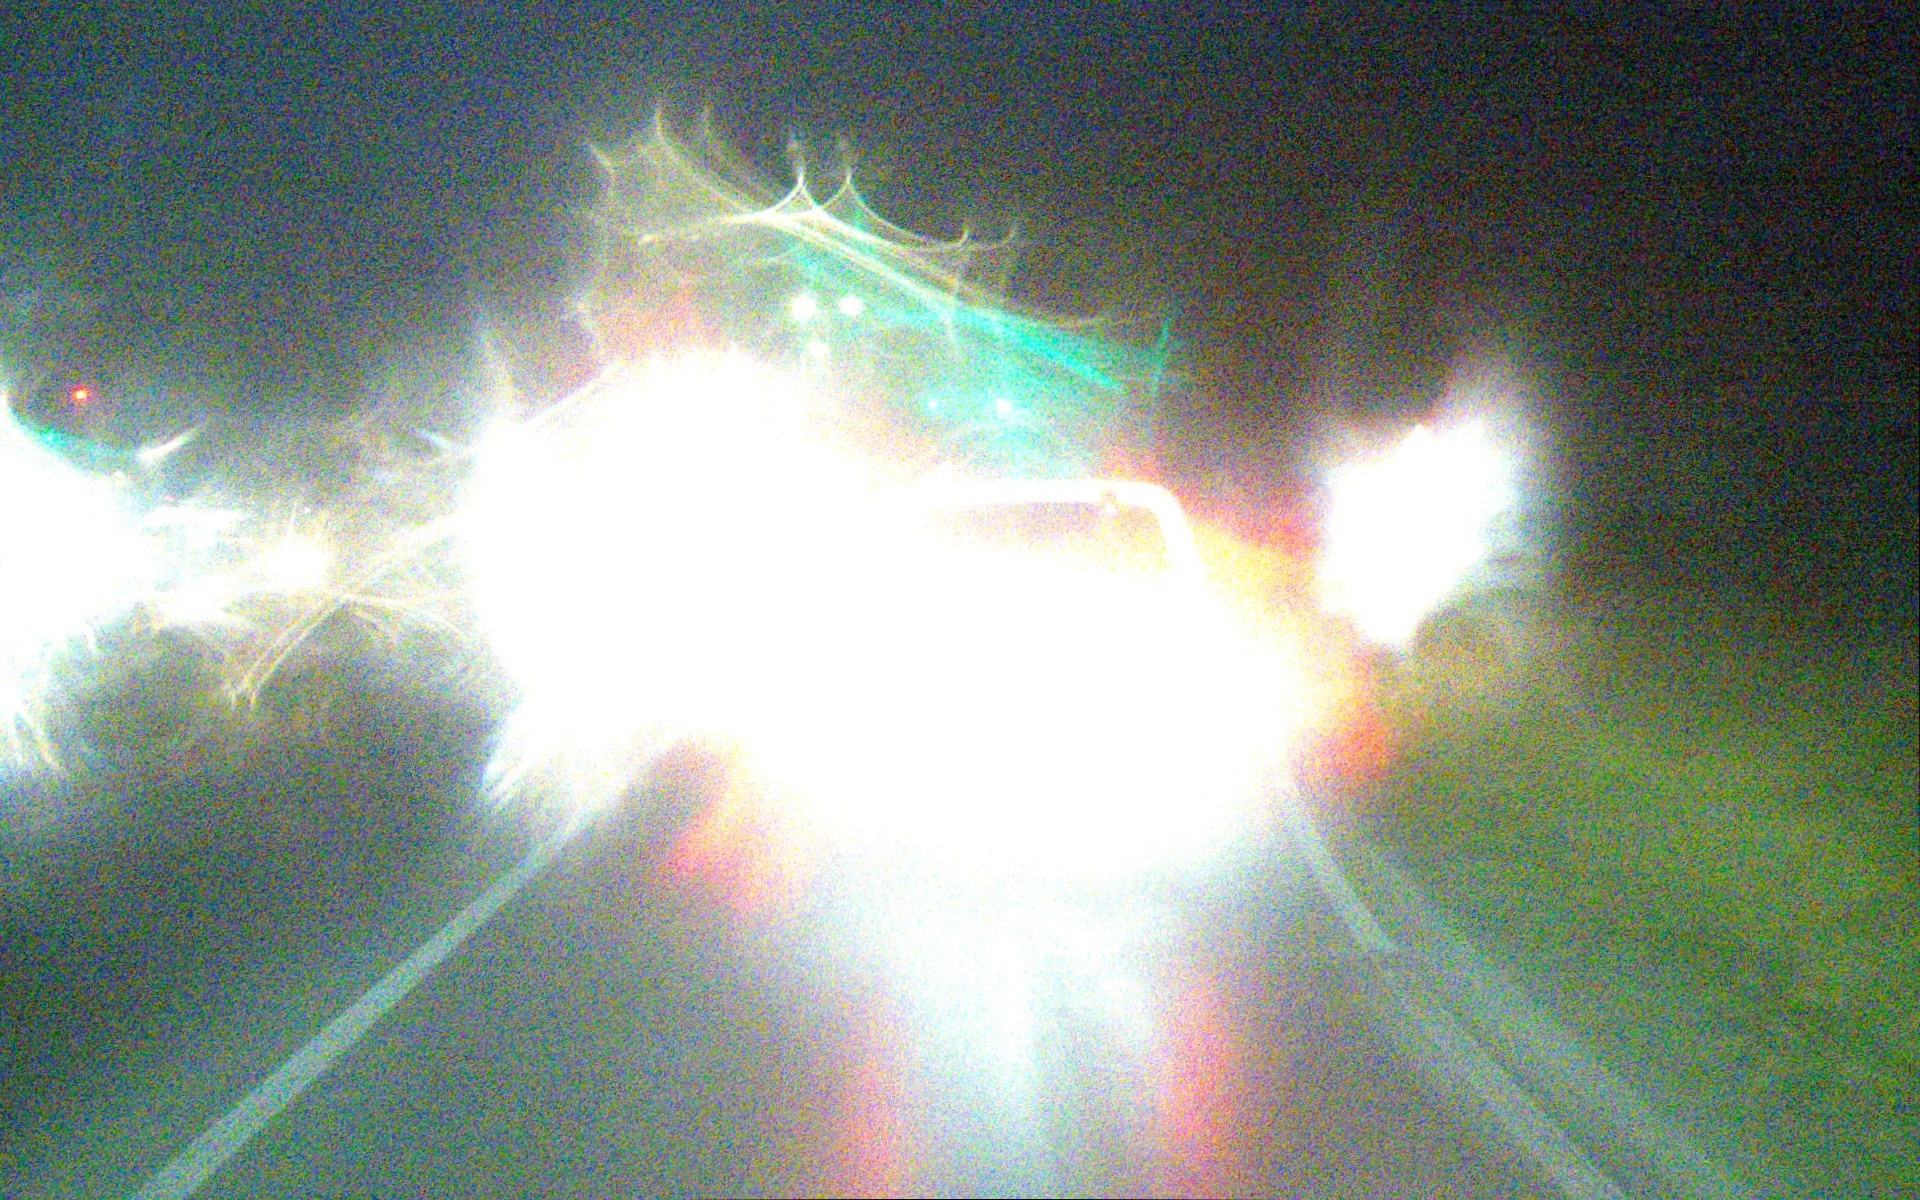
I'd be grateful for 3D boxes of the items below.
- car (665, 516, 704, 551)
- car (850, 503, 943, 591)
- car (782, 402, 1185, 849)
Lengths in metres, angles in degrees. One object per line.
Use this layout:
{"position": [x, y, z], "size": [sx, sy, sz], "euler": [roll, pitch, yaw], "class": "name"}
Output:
{"position": [-13.258, -3.195, 165.520], "size": [1.801, 1.582, 4.031], "euler": [-1, 1, -4], "class": "car"}
{"position": [-1.420, -1.188, 75.349], "size": [1.783, 1.776, 4.437], "euler": [-3, 2, -3], "class": "car"}
{"position": [0.215, 0.053, 18.262], "size": [1.791, 2.015, 4.579], "euler": [-2, 2, 3], "class": "car"}
